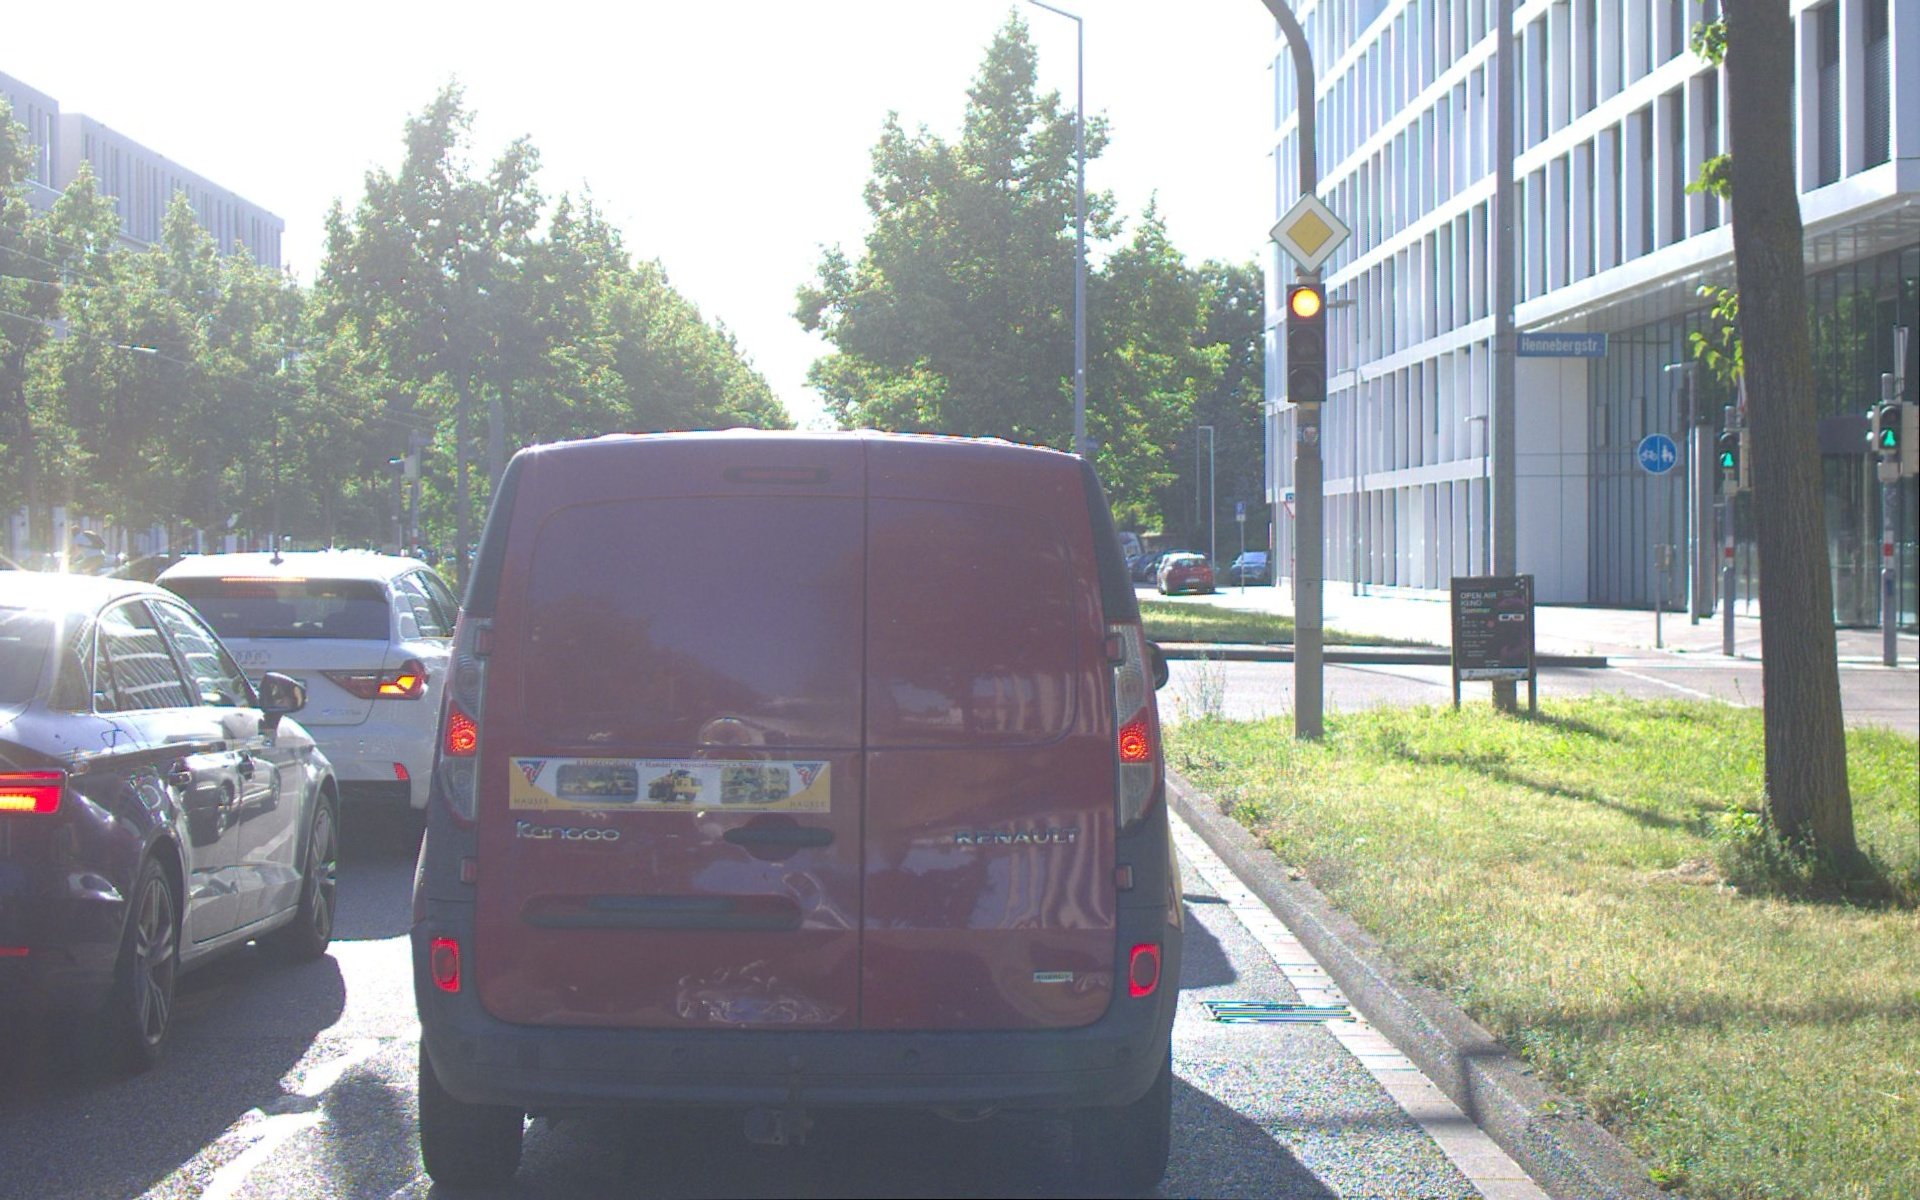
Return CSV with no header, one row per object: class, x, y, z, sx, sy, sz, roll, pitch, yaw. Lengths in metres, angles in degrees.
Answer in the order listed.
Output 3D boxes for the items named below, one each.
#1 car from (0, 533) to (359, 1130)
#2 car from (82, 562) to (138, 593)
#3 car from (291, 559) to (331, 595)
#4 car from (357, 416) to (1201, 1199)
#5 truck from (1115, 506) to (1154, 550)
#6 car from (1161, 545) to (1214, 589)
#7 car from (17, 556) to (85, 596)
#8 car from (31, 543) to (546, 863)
car,-3.160,0.551,10.810,1.808,1.522,4.113,0,1,0
car,-36.982,-0.999,149.595,1.580,1.337,3.712,0,1,-1
car,-37.544,-1.359,198.995,1.728,2.007,4.001,0,1,-3
car,-0.383,0.461,9.435,1.808,1.788,4.113,0,1,0
truck,10.067,-4.126,198.640,1.831,2.492,5.933,0,1,-1
car,8.457,-1.249,127.875,1.758,1.606,3.903,0,1,1
car,-36.085,-0.965,136.503,1.776,1.523,3.806,0,1,-1
car,-3.268,0.429,17.514,1.808,1.430,4.113,0,1,0
